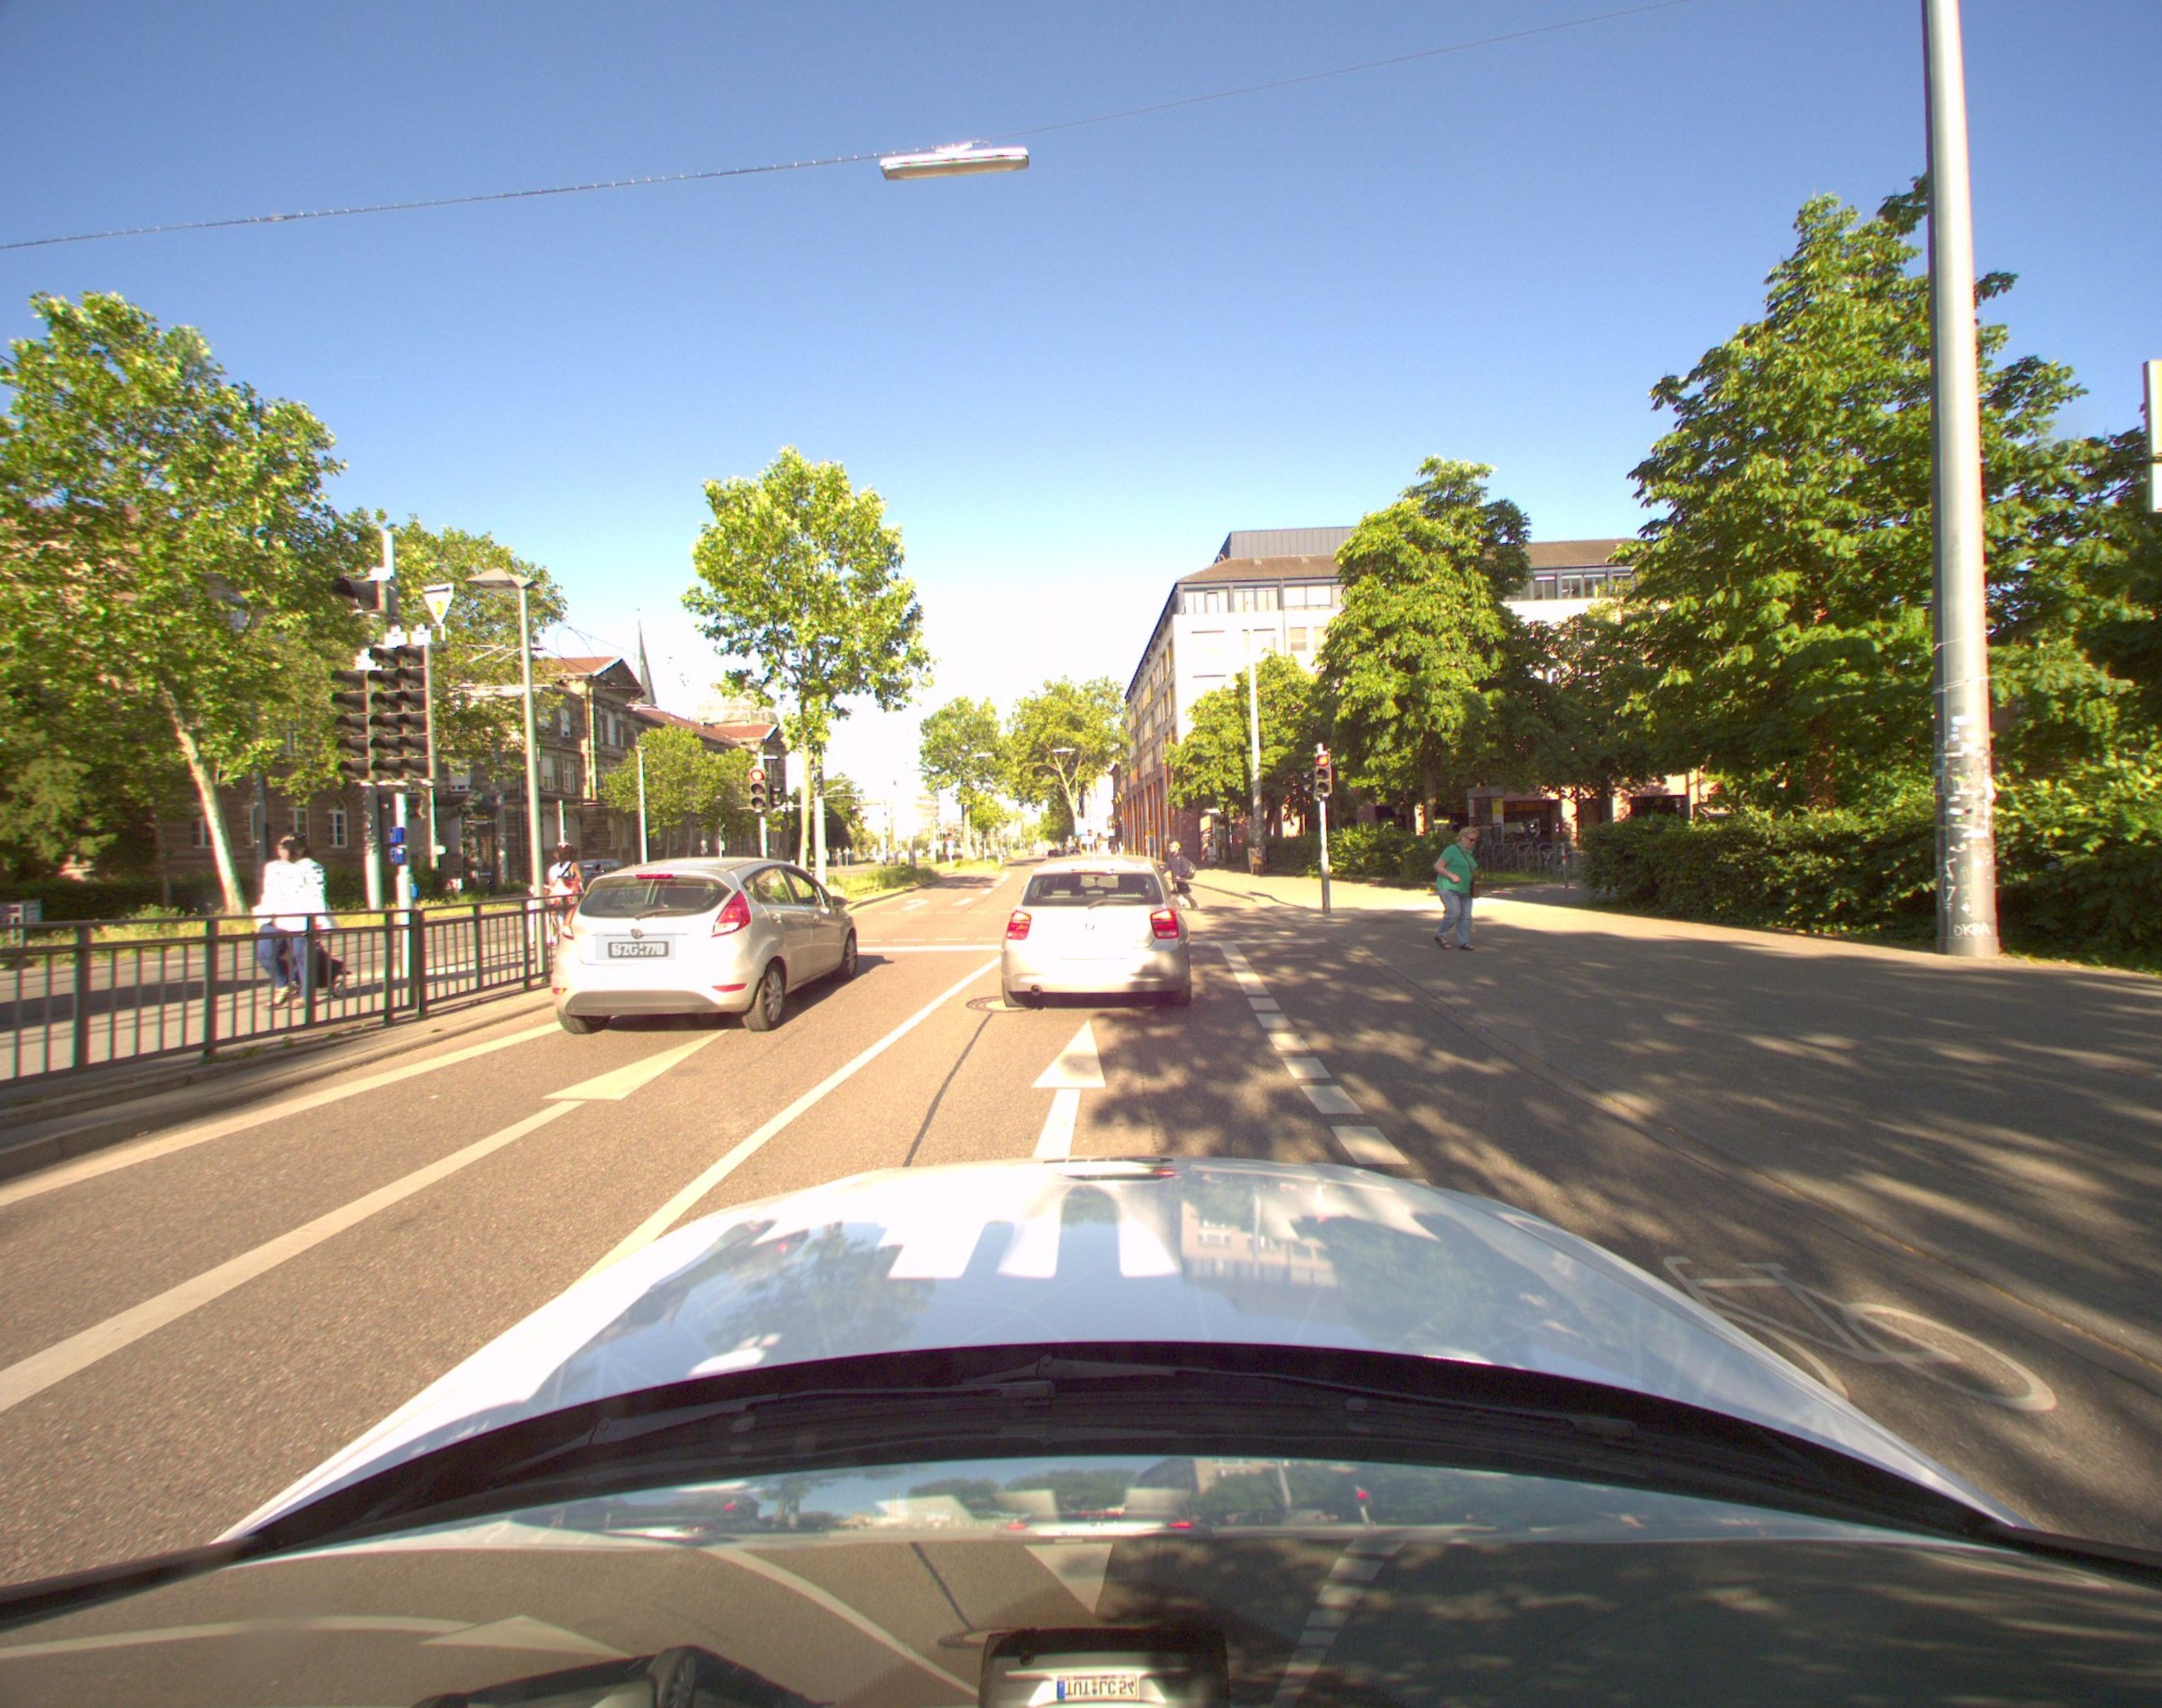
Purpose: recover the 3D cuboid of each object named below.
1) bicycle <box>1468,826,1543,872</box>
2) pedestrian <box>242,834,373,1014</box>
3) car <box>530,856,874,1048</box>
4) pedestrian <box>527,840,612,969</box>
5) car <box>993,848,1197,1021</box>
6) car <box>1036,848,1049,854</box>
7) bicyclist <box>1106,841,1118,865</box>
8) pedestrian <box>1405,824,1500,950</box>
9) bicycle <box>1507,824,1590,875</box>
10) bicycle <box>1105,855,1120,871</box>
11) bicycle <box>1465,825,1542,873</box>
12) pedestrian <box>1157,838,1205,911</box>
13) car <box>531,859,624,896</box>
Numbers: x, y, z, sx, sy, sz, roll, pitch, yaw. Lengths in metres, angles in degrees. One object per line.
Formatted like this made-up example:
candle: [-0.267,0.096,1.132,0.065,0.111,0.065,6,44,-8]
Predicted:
bicycle: [13.340,-0.149,25.615,1.989,1.314,0.574,-4,0,0]
pedestrian: [-7.362,0.646,7.781,0.639,1.619,0.640,-2,-2,-6]
car: [-3.329,0.745,7.977,1.655,1.409,3.631,-1,0,0]
pedestrian: [-6.456,0.617,10.312,0.630,1.557,0.645,-2,0,-6]
car: [0.292,0.677,8.836,1.721,1.390,3.846,-1,1,5]
car: [-10.156,-0.764,214.868,2.005,1.486,3.963,-2,0,-28]
bicyclist: [2.206,-0.069,57.893,0.655,1.657,0.766,-3,0,7]
pedestrian: [4.935,0.420,10.832,0.742,1.575,0.823,-3,0,-35]
bicycle: [13.326,-0.128,23.247,1.989,1.314,0.574,-4,0,0]
bicycle: [2.229,0.605,57.913,0.827,1.041,1.878,-3,0,7]
bicycle: [12.942,-0.155,24.983,1.989,1.314,0.574,-4,0,0]
pedestrian: [2.303,0.452,18.798,0.941,1.629,0.626,-1,0,-11]
car: [-24.825,1.127,40.339,1.986,1.625,4.002,-2,0,2]
